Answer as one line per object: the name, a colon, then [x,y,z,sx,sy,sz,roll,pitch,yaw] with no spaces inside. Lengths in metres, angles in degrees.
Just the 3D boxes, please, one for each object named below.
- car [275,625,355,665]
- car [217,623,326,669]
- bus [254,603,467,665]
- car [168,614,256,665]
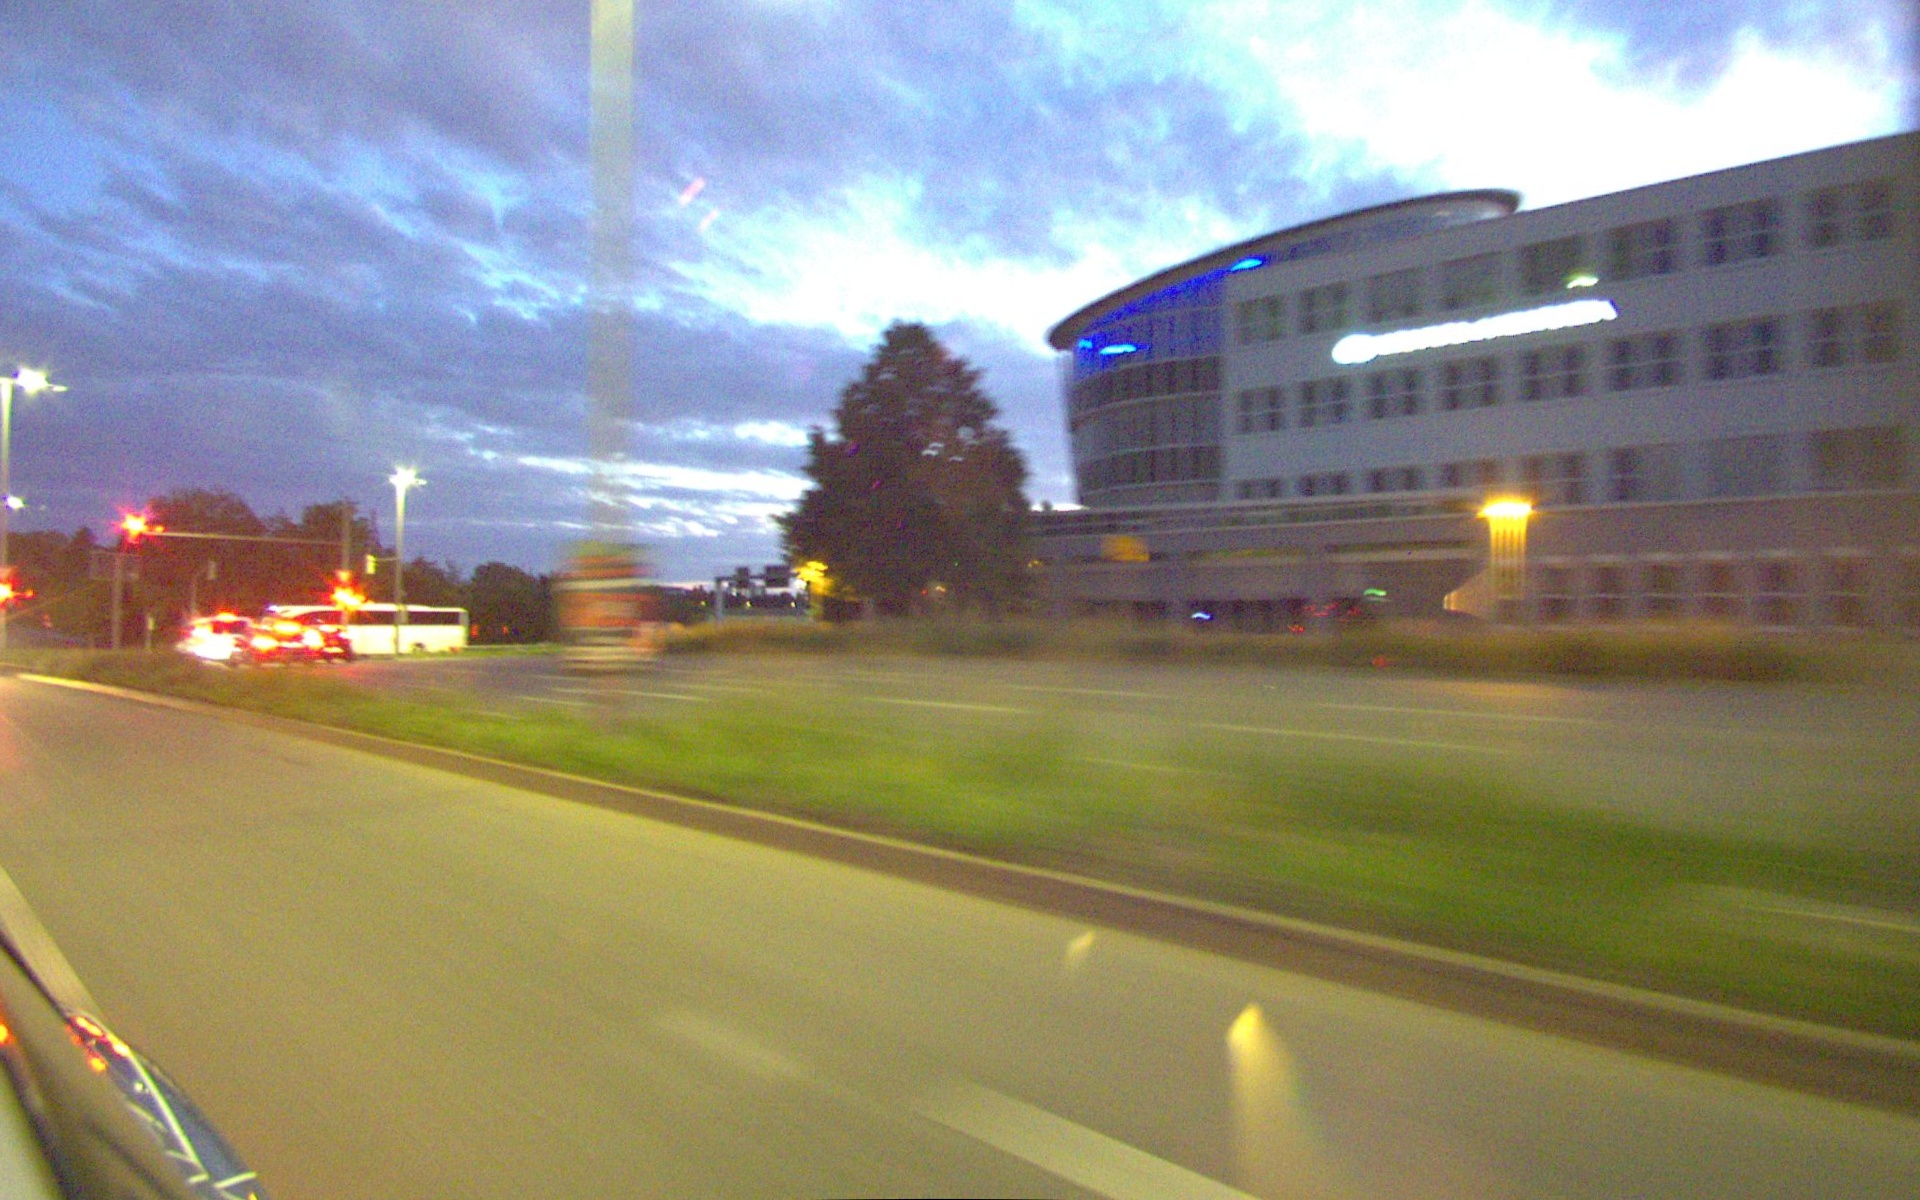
car: [-25.305,1.780,39.681,3.780,1.458,1.750,-3,-4,43]
car: [-22.743,1.518,33.356,4.836,1.408,1.851,-3,-3,42]
bus: [-39.877,2.275,67.996,2.614,3.819,12.106,-4,-4,41]
car: [-28.533,1.538,38.562,4.774,1.828,1.823,-3,-4,43]
